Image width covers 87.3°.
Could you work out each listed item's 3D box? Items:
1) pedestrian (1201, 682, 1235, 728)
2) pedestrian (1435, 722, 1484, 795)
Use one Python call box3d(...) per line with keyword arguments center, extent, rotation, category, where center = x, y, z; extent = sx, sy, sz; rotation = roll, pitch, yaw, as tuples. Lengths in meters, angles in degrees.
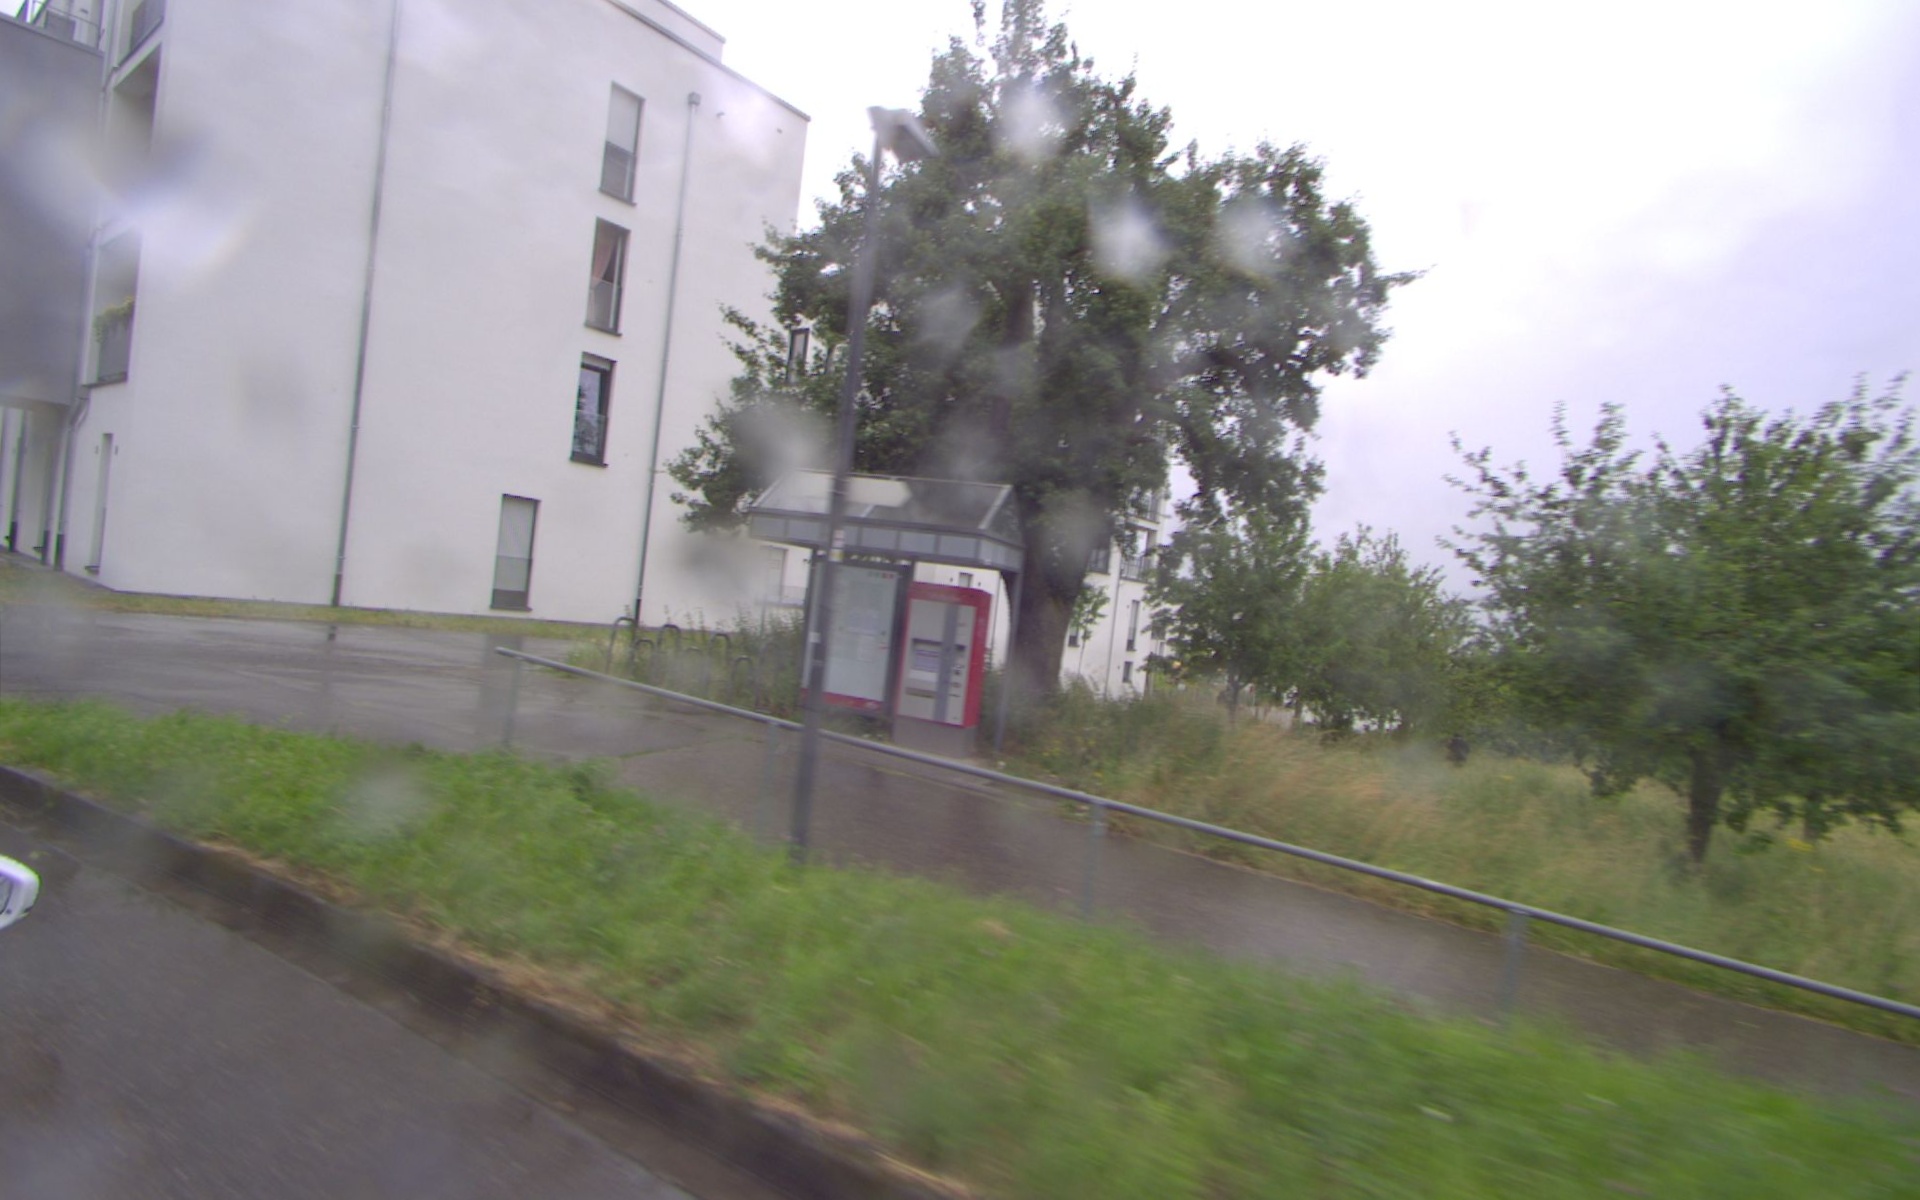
box3d(center=(11.064, 4.504, 43.158), extent=(0.880, 1.806, 0.887), rotation=(9, 1, 36), category="pedestrian")
box3d(center=(15.326, 4.861, 30.873), extent=(0.763, 2.038, 0.769), rotation=(8, 1, -9), category="pedestrian")
